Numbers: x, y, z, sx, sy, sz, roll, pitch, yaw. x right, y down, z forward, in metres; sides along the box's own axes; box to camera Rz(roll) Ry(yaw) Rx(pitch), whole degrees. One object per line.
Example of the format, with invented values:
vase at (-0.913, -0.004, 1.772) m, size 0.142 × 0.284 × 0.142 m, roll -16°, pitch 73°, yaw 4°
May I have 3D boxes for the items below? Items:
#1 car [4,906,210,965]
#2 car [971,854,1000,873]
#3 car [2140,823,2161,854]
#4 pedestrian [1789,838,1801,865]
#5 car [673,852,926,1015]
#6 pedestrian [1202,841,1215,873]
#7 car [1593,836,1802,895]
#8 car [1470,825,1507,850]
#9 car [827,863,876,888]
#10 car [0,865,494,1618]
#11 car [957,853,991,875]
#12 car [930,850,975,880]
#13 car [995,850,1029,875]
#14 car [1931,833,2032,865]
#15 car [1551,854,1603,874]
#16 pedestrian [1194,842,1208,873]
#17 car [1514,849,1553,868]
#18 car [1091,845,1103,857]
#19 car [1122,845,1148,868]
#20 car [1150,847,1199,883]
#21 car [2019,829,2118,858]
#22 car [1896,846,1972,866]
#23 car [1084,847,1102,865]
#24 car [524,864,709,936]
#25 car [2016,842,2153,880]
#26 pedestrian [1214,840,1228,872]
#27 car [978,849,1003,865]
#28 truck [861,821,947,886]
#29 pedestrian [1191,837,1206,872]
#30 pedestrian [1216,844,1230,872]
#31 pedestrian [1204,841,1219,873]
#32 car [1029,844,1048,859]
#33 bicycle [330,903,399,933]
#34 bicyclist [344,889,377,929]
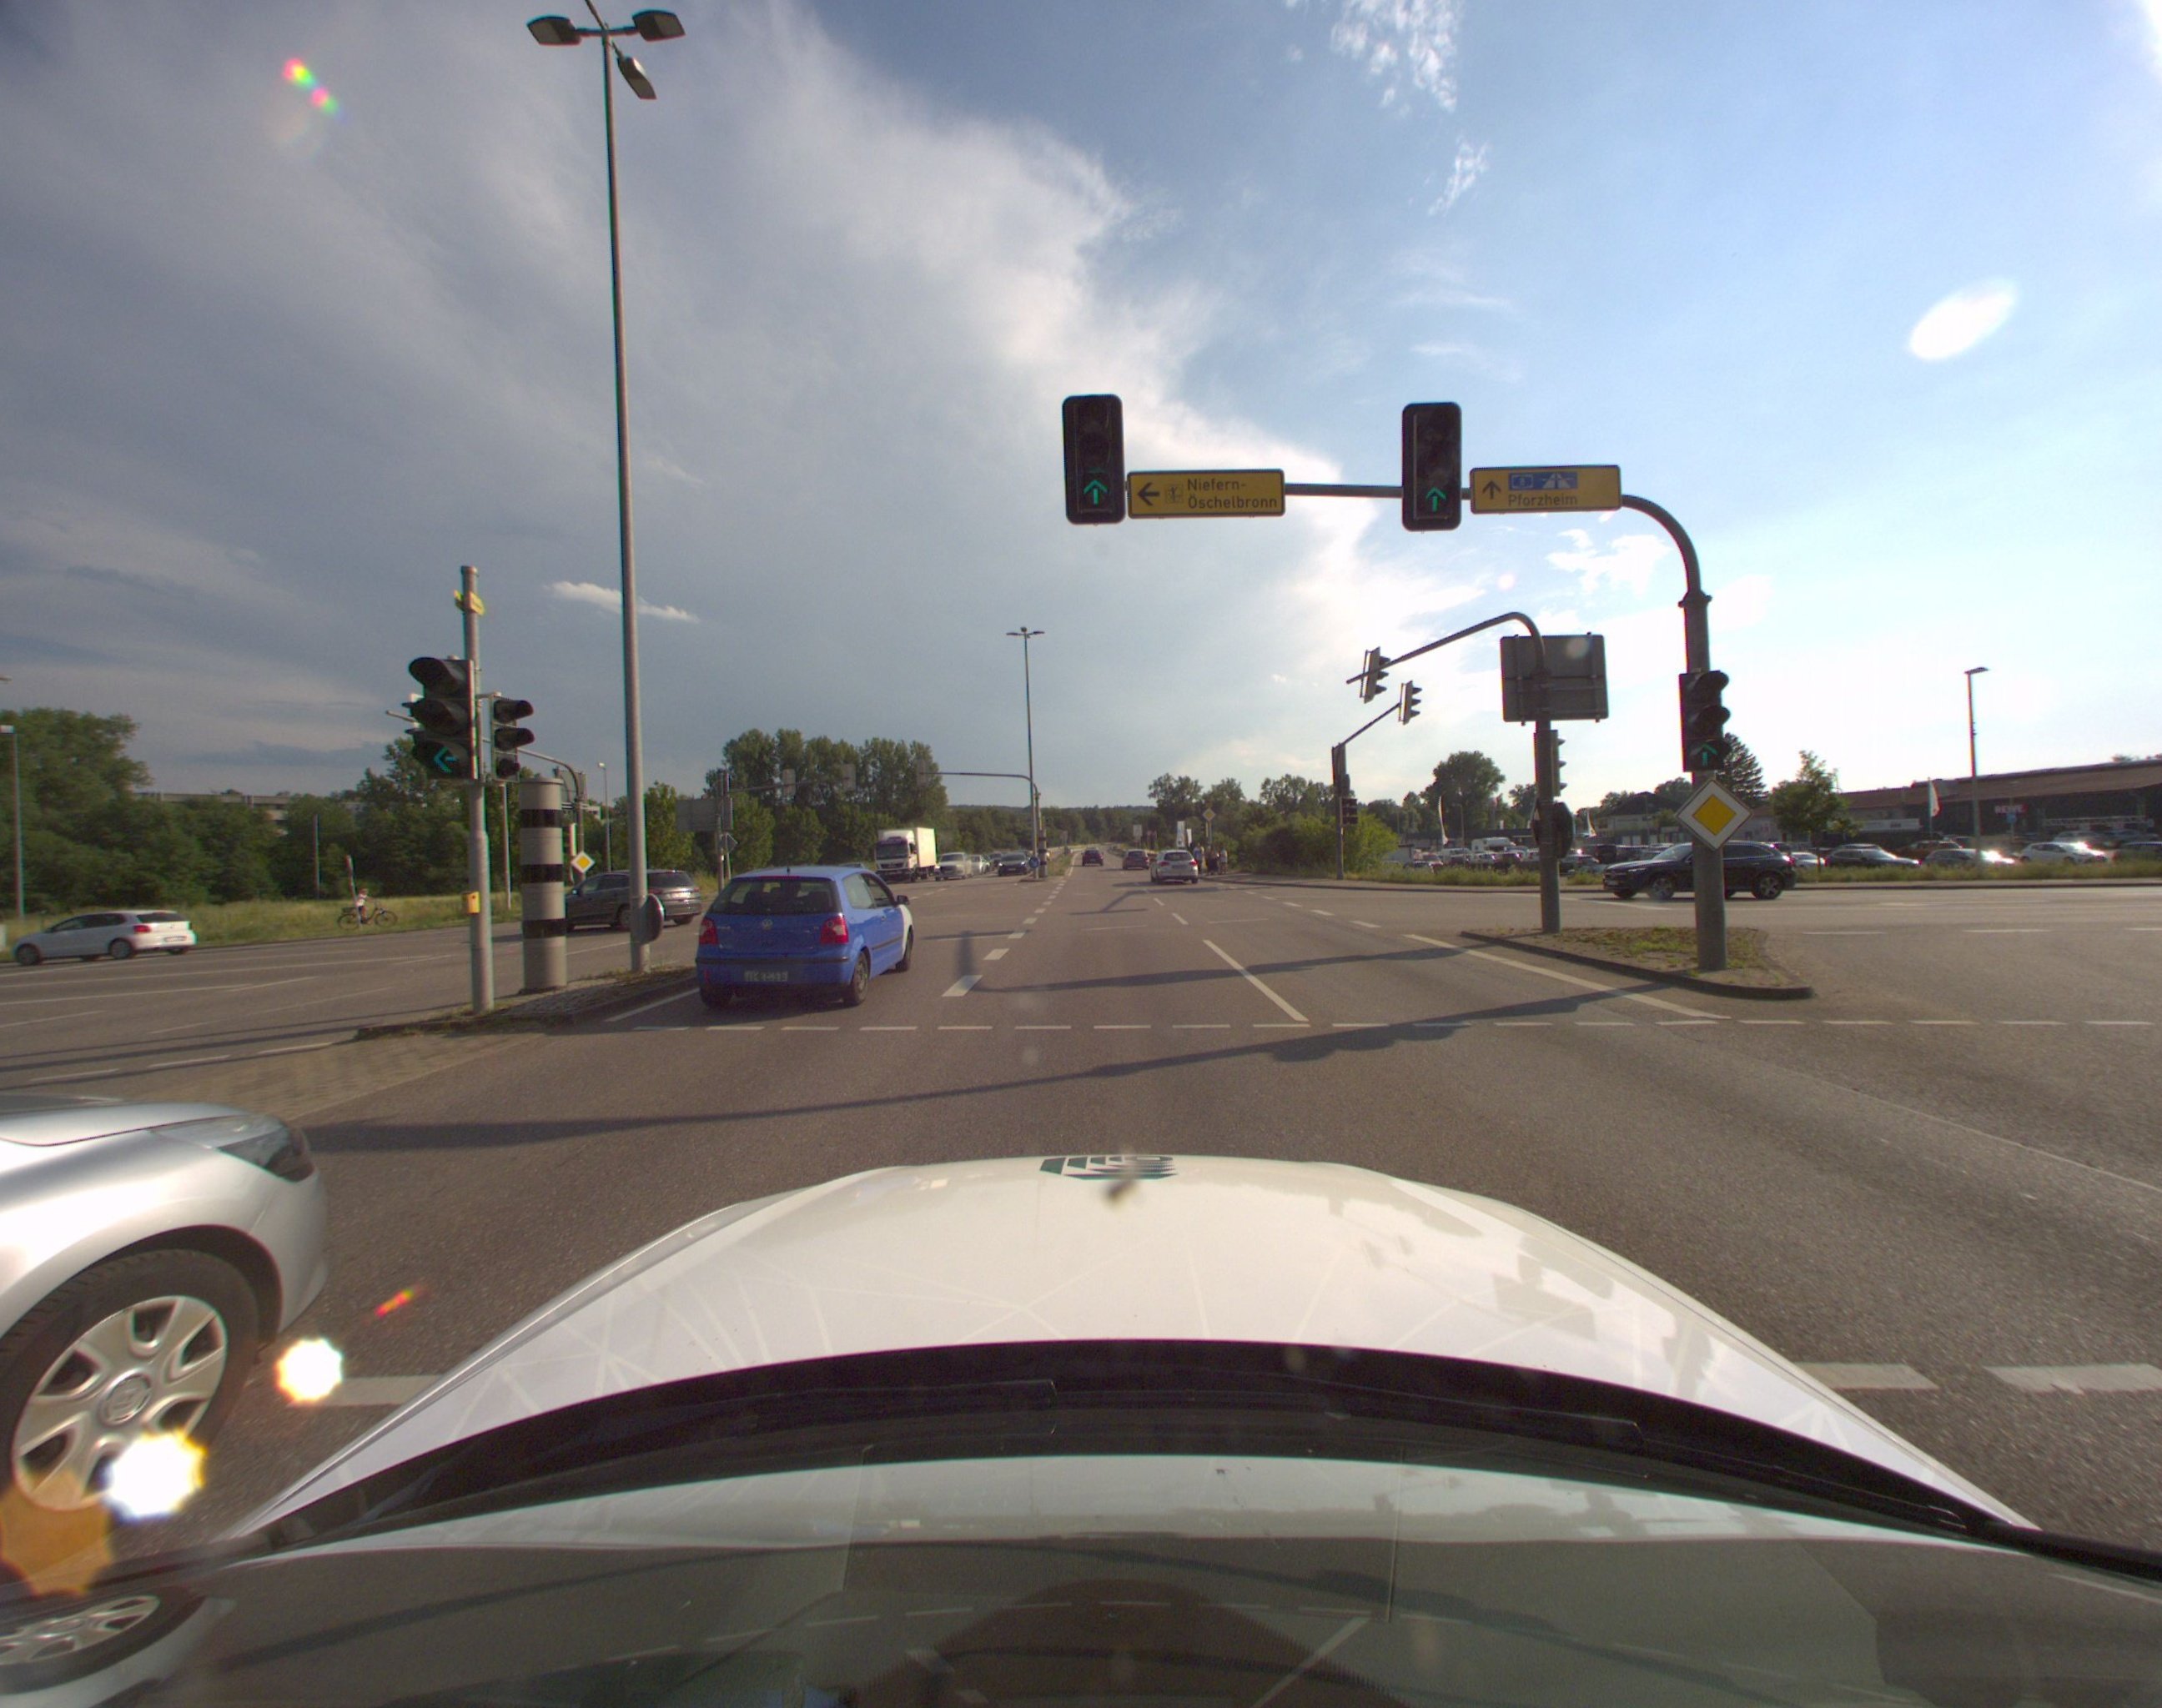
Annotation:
car at (-28.792, 2.388, 24.186) m, size 3.730 × 1.368 × 1.765 m, roll -3°, pitch 0°, yaw -5°
car at (-7.554, 0.738, 64.890) m, size 1.697 × 1.283 × 4.818 m, roll -3°, pitch 1°, yaw 0°
car at (62.230, -0.899, 45.292) m, size 1.792 × 1.750 × 3.759 m, roll 0°, pitch 0°, yaw 2°
pedestrian at (39.462, -0.121, 45.005) m, size 0.375 × 1.459 × 0.571 m, roll -1°, pitch -1°, yaw 26°
car at (-3.059, 0.772, 9.737) m, size 1.682 × 1.500 × 3.891 m, roll -2°, pitch 0°, yaw -1°
pedestrian at (6.745, 0.170, 43.097) m, size 0.571 × 1.678 × 0.622 m, roll 0°, pitch -1°, yaw -4°
car at (17.525, 0.330, 23.344) m, size 4.435 × 1.585 × 2.002 m, roll 0°, pitch 0°, yaw 4°
car at (44.423, -1.757, 88.901) m, size 1.747 × 2.549 × 5.476 m, roll 0°, pitch 0°, yaw 4°
car at (-14.486, 1.354, 51.583) m, size 1.807 × 1.376 × 4.001 m, roll -4°, pitch 0°, yaw 1°
car at (-3.065, 0.806, 0.851) m, size 1.750 × 1.477 × 4.191 m, roll -1°, pitch 0°, yaw 1°
car at (-7.573, 0.701, 58.012) m, size 1.696 × 1.405 × 5.080 m, roll -3°, pitch 0°, yaw 0°
car at (-7.926, 0.636, 50.656) m, size 1.987 × 1.678 × 4.806 m, roll -3°, pitch 0°, yaw 0°
car at (-4.390, 0.536, 52.430) m, size 1.785 × 1.466 × 4.927 m, roll -2°, pitch 0°, yaw -1°
car at (51.963, -0.270, 47.098) m, size 1.792 × 1.750 × 3.759 m, roll 0°, pitch 0°, yaw 2°
car at (39.083, 0.769, 64.236) m, size 1.719 × 1.508 × 4.000 m, roll 0°, pitch 0°, yaw 1°
pedestrian at (6.617, 0.177, 44.944) m, size 0.593 × 1.683 × 0.633 m, roll -4°, pitch -1°, yaw 0°
car at (39.128, 0.389, 70.528) m, size 1.604 × 1.624 × 3.350 m, roll 0°, pitch 0°, yaw 2°
car at (1.964, -0.325, 100.813) m, size 1.487 × 1.476 × 3.360 m, roll 0°, pitch 0°, yaw 2°
car at (3.802, 0.213, 57.835) m, size 1.661 × 1.574 × 4.002 m, roll 0°, pitch 0°, yaw 2°
car at (4.146, 0.469, 36.513) m, size 1.803 × 1.486 × 4.001 m, roll 0°, pitch 0°, yaw 1°
car at (62.719, -0.639, 51.833) m, size 1.792 × 1.750 × 3.759 m, roll 0°, pitch 0°, yaw 2°
car at (65.471, 0.143, 62.573) m, size 1.719 × 1.508 × 4.001 m, roll 0°, pitch 0°, yaw 1°
car at (1.026, 0.192, 68.545) m, size 1.487 × 1.476 × 3.360 m, roll 0°, pitch 0°, yaw 2°
car at (-12.720, 1.238, 22.409) m, size 4.115 × 1.691 × 1.933 m, roll -4°, pitch -1°, yaw 13°
car at (45.025, 0.298, 36.673) m, size 1.587 × 1.629 × 3.760 m, roll 0°, pitch 0°, yaw 2°
pedestrian at (7.409, 0.125, 43.156) m, size 0.571 × 1.678 × 0.622 m, roll 0°, pitch -1°, yaw -4°
car at (-8.051, 0.247, 72.741) m, size 1.774 × 1.354 × 4.000 m, roll 0°, pitch 0°, yaw 0°
truck at (-11.574, -0.002, 54.473) m, size 2.922 × 3.690 × 10.502 m, roll -4°, pitch 0°, yaw 2°
pedestrian at (6.607, 0.026, 45.725) m, size 0.617 × 1.883 × 0.861 m, roll -3°, pitch -1°, yaw -1°
pedestrian at (7.399, 0.211, 42.411) m, size 0.571 × 1.457 × 0.622 m, roll 0°, pitch -1°, yaw -4°
pedestrian at (6.785, 0.160, 42.327) m, size 0.571 × 1.615 × 0.622 m, roll -3°, pitch 0°, yaw -4°
car at (-4.788, -0.289, 92.283) m, size 1.774 × 1.520 × 4.000 m, roll -3°, pitch 0°, yaw 0°
bicycle at (-27.946, 2.480, 31.790) m, size 0.700 × 1.039 × 1.947 m, roll -1°, pitch -1°, yaw 44°
bicyclist at (-28.044, 2.128, 31.704) m, size 0.715 × 1.501 × 0.926 m, roll -1°, pitch -1°, yaw 44°
